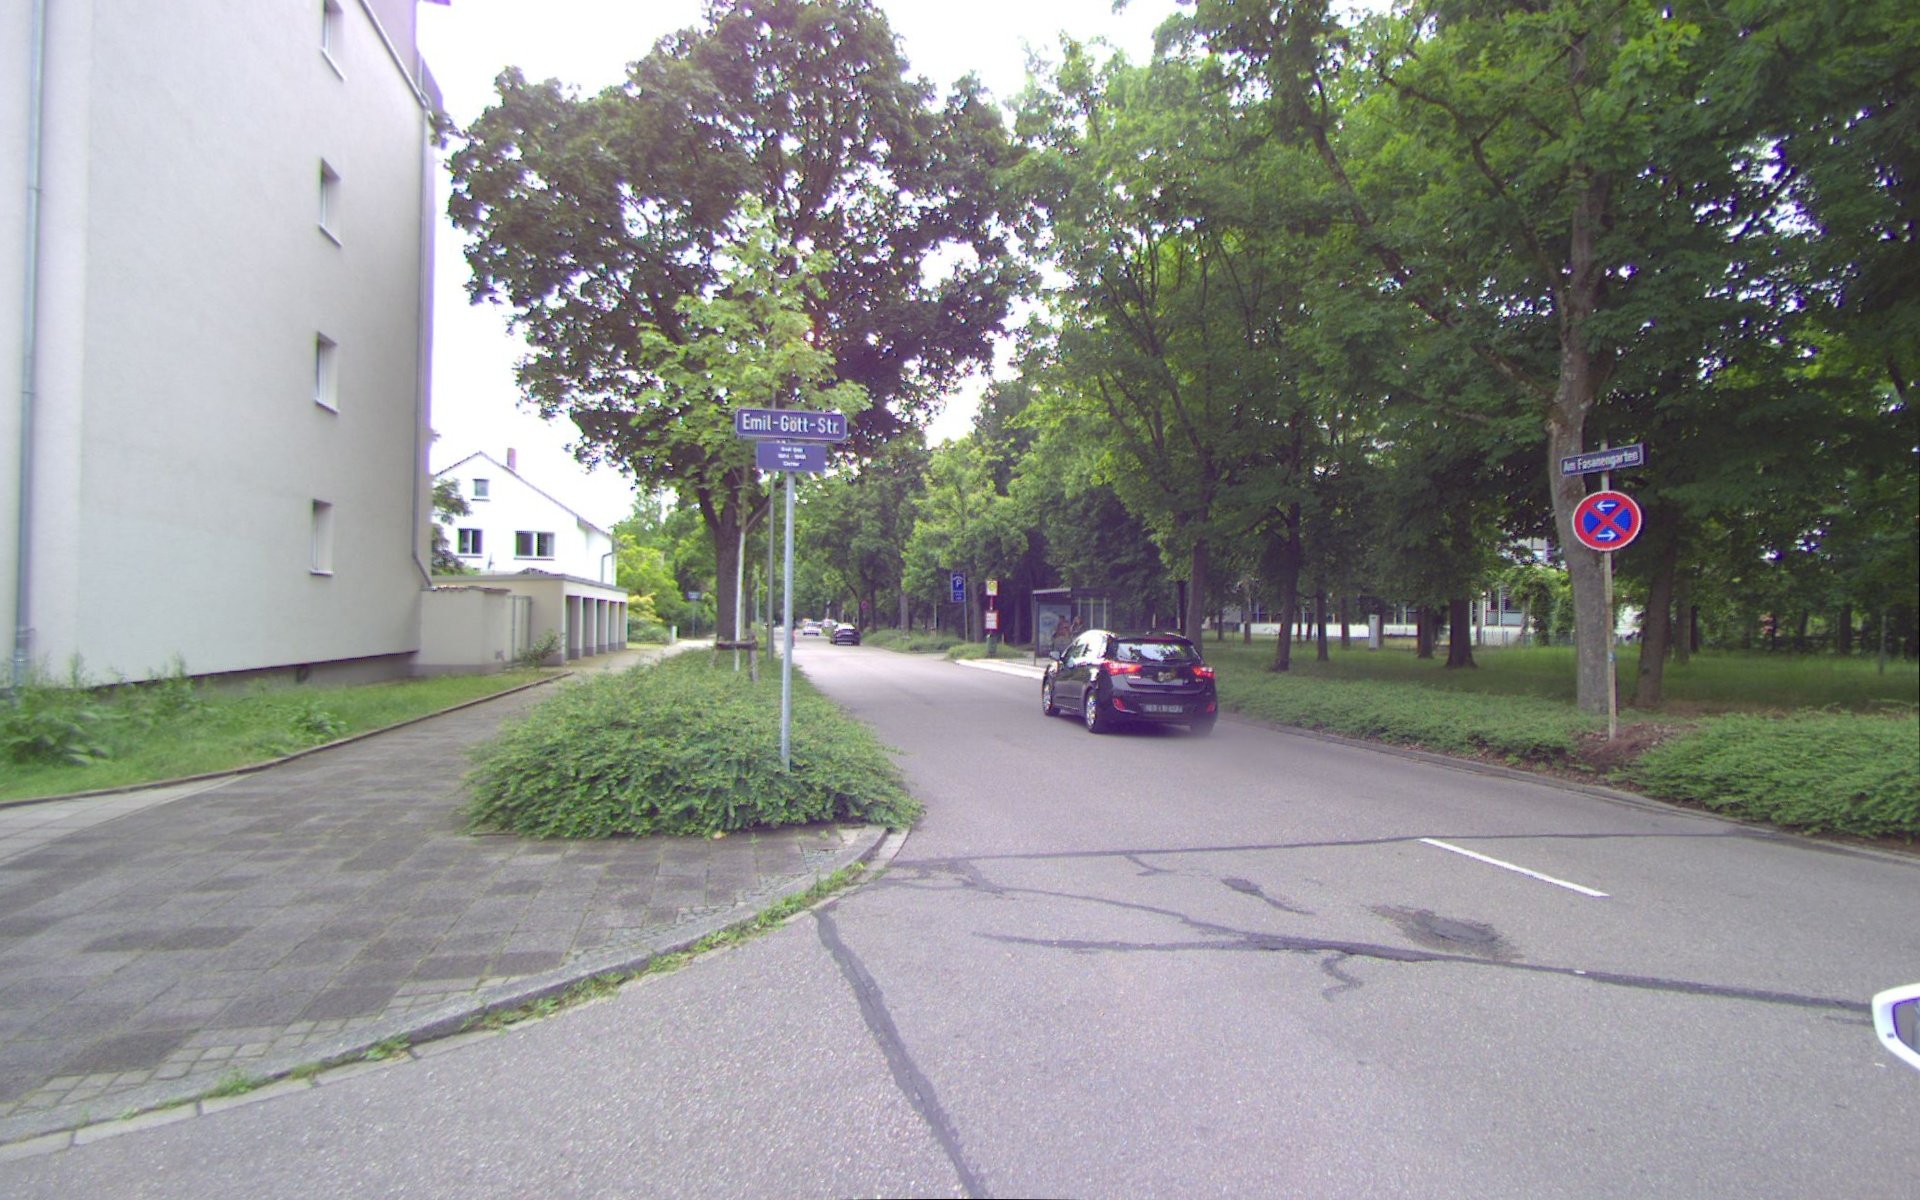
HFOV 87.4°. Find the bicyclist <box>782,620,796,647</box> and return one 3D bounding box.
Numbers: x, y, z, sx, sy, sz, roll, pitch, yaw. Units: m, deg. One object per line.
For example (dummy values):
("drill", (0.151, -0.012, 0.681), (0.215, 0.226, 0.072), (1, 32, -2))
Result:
("bicyclist", (-9.746, 1.901, 57.246), (0.773, 1.489, 0.935), (0, -1, -11))

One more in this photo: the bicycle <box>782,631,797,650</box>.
("bicycle", (-9.698, 2.292, 57.030), (0.783, 1.039, 2.559), (0, -1, -11))

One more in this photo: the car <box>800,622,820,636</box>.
("car", (-16.643, 3.159, 111.178), (1.873, 1.506, 3.989), (1, -1, -14))

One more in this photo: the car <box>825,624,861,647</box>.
("car", (-7.860, 2.353, 67.044), (1.839, 1.482, 4.105), (1, -1, -15))

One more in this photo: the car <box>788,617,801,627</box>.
("car", (-27.384, 3.636, 166.135), (1.965, 1.506, 3.991), (0, -1, -12))

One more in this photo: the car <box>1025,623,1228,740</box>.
("car", (2.348, 1.138, 15.232), (1.819, 1.482, 3.820), (2, -1, -11))

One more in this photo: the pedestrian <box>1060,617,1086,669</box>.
("pedestrian", (3.502, 1.317, 31.149), (0.644, 1.604, 0.696), (0, -1, -12))
